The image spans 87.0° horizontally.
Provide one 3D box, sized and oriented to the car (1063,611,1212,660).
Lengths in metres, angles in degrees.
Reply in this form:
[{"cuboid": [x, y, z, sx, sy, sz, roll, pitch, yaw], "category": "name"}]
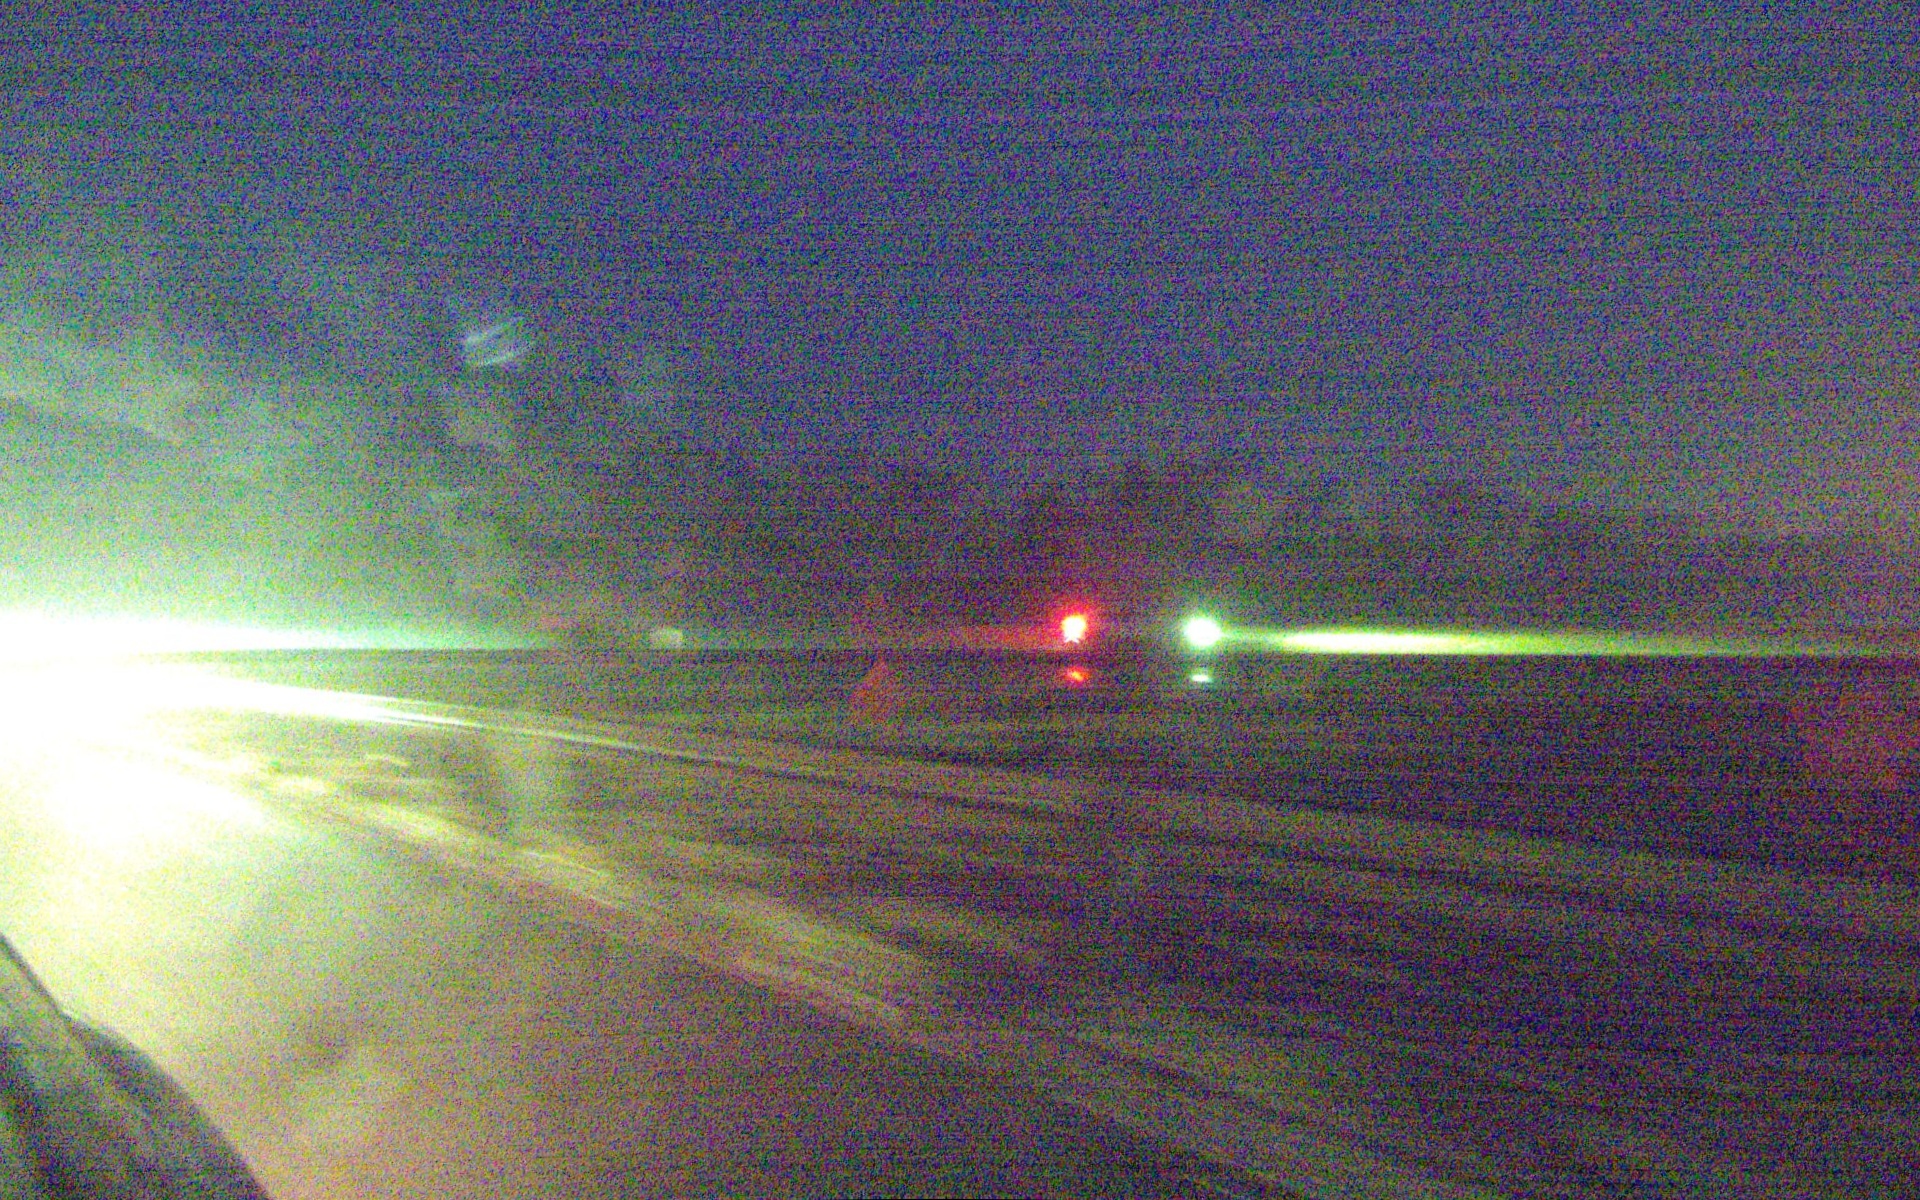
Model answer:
[{"cuboid": [5.972, 1.167, 34.005, 4.817, 1.492, 1.759, 0, 2, 14], "category": "car"}]
